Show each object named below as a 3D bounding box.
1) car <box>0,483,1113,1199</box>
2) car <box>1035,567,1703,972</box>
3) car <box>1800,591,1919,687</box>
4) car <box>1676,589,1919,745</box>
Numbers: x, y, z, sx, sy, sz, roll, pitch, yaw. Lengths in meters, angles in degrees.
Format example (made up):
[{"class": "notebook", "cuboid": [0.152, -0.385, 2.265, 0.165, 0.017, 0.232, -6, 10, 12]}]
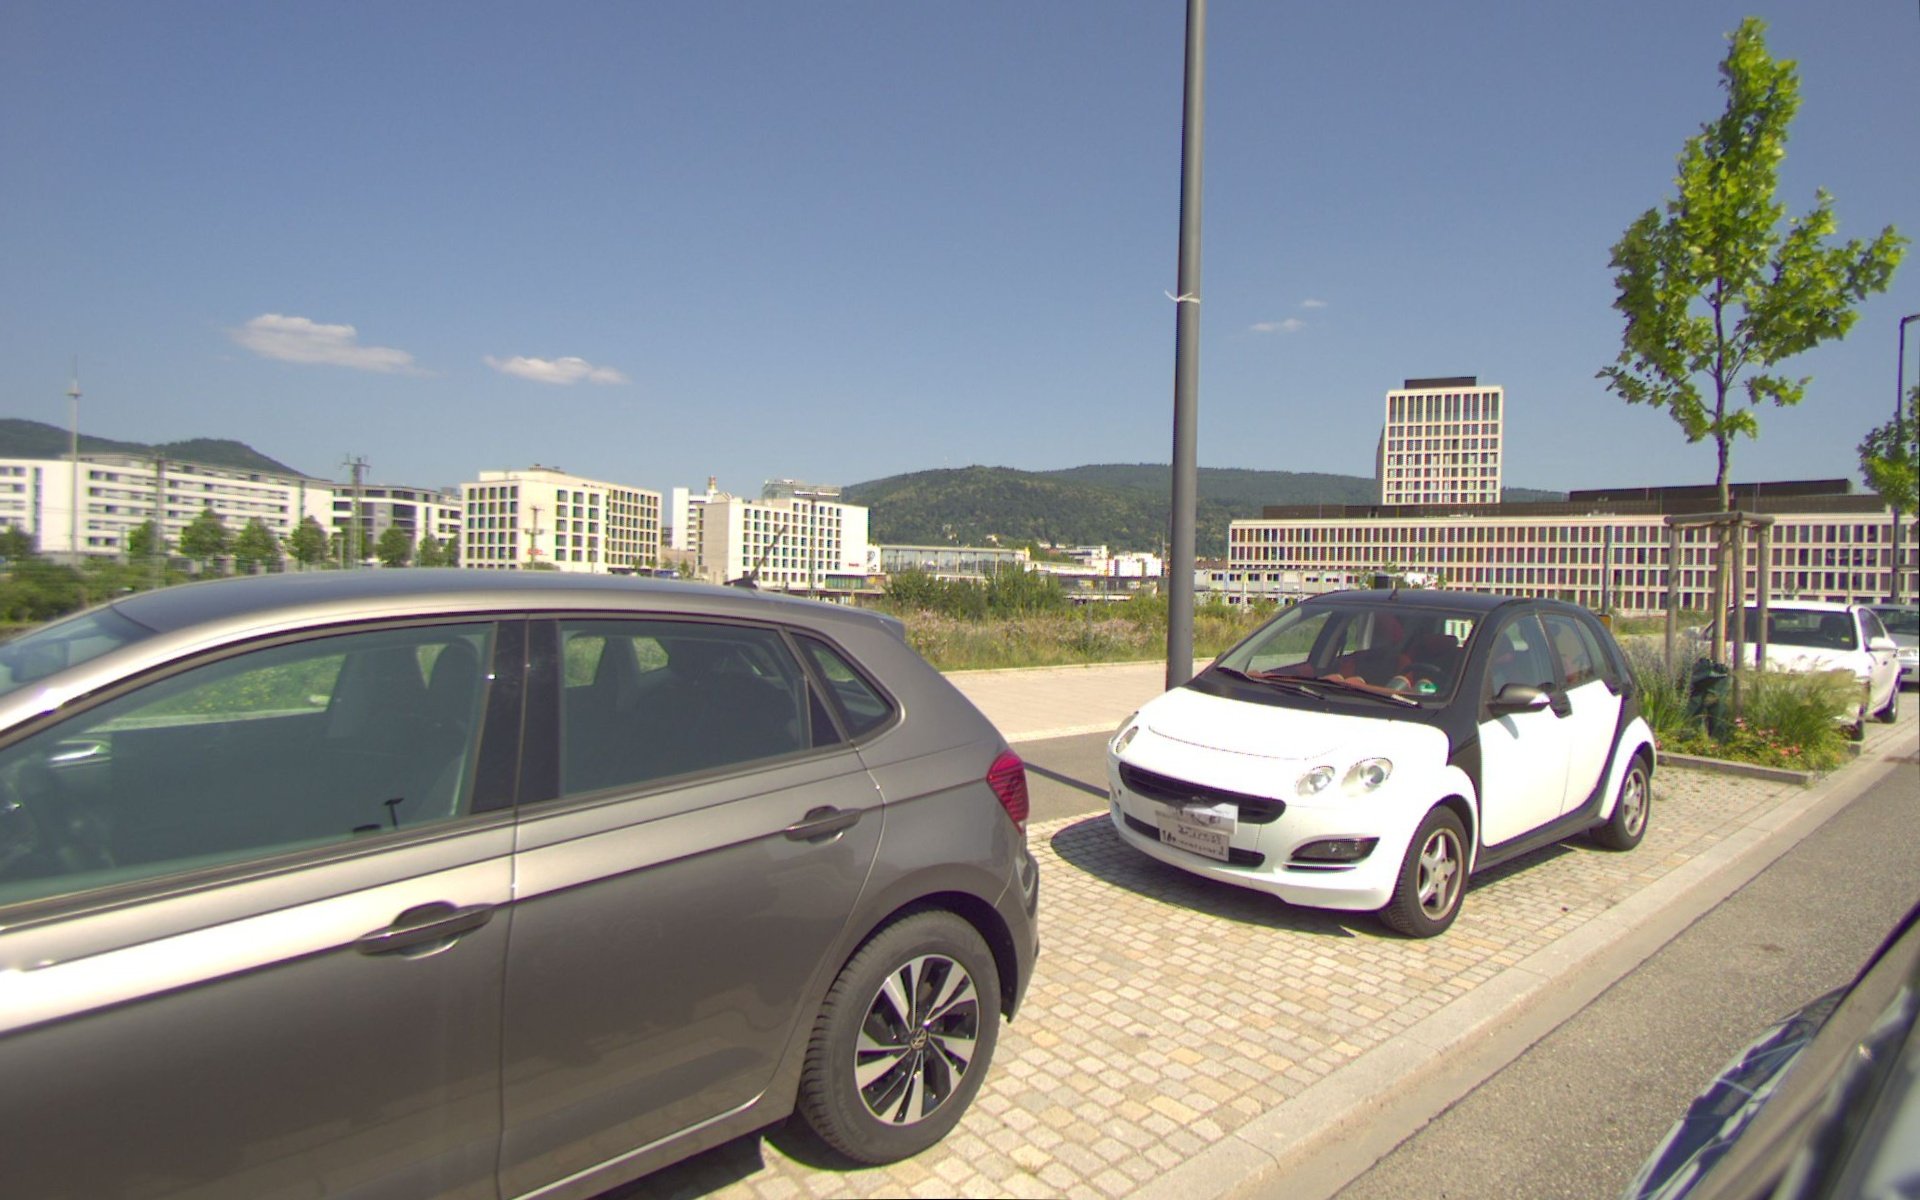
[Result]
[{"class": "car", "cuboid": [-1.562, 0.567, 2.317, 3.886, 1.481, 1.707, 1, 0, -42]}, {"class": "car", "cuboid": [2.471, 0.620, 5.631, 4.011, 1.481, 1.708, 1, 0, -39]}, {"class": "car", "cuboid": [16.676, 0.640, 17.934, 4.081, 1.497, 1.914, 1, 1, -38]}, {"class": "car", "cuboid": [10.102, 0.677, 12.037, 3.932, 1.528, 1.749, 1, 0, -42]}]
